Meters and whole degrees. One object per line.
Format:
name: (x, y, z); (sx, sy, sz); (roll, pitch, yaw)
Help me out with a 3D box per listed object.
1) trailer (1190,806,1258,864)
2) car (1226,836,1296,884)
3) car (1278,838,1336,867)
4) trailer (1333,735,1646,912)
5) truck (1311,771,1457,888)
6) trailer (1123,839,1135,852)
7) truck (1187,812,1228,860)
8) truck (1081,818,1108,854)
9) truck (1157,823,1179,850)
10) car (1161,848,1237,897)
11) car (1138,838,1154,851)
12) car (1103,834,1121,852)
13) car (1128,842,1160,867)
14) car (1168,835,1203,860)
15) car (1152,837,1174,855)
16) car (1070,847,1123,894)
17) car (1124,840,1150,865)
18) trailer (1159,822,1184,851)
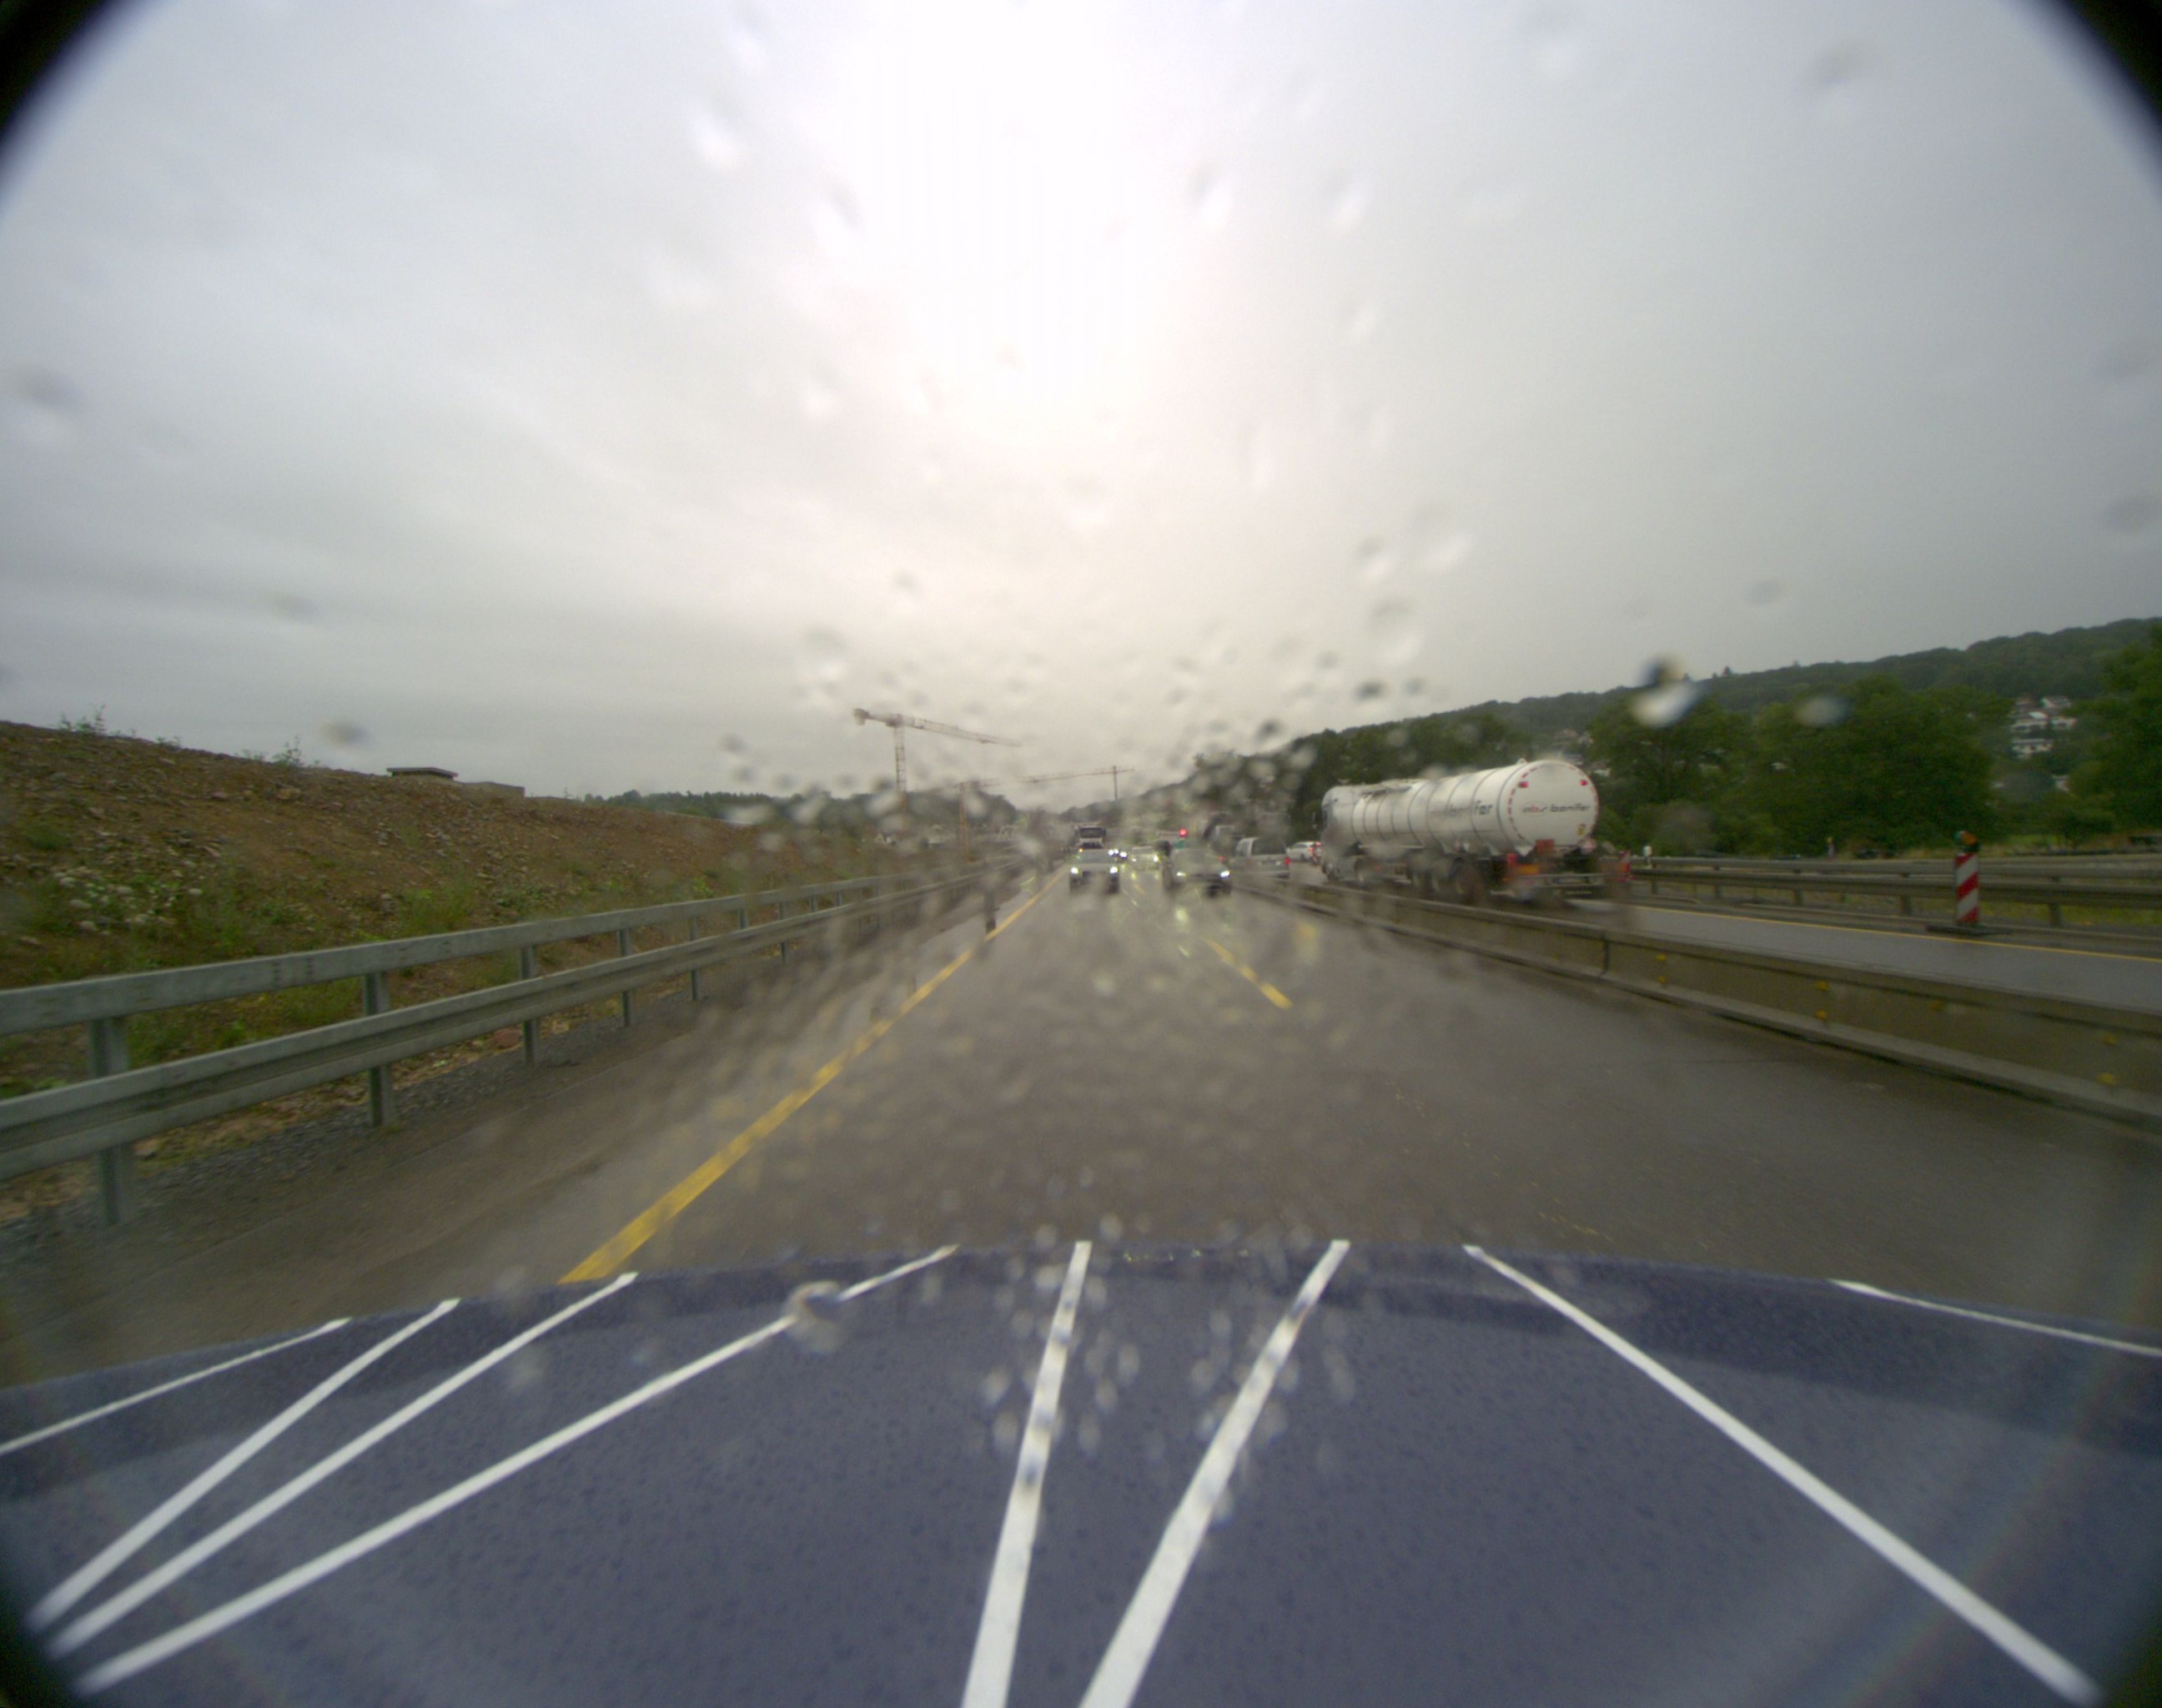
trailer: (11.180, -1.483, 61.175); (2.756, 4.019, 15.356); (-2, 1, 1)
car: (7.222, 0.192, 30.895); (1.870, 1.790, 4.162); (-2, 1, 1)
car: (17.106, -0.155, 57.722); (2.072, 2.051, 4.837); (-2, 1, -13)
trailer: (10.595, -0.729, 21.972); (2.627, 3.656, 12.001); (-2, 1, 0)
truck: (10.627, -0.834, 27.449); (2.627, 3.656, 6.594); (-2, 1, 0)
trailer: (14.884, -2.476, 237.880); (3.285, 3.886, 13.699); (-2, 0, 2)
truck: (11.366, -1.629, 68.876); (2.756, 4.039, 6.147); (-2, 1, 1)
truck: (1.415, -1.823, 76.680); (2.575, 3.451, 6.626); (-2, 1, 2)
truck: (12.864, -2.588, 112.687); (2.692, 3.905, 5.273); (0, 1, 1)
car: (3.823, 0.556, 25.389); (1.951, 1.430, 4.484); (-2, 0, 2)
car: (9.306, -1.416, 108.334); (1.879, 1.782, 5.358); (-1, 1, 1)
car: (3.841, -1.306, 94.335); (1.998, 2.001, 4.188); (-2, -1, 1)
car: (3.969, 0.016, 48.384); (1.781, 1.430, 4.483); (-2, 1, 2)
car: (7.891, -0.498, 57.741); (1.998, 1.749, 4.687); (-2, 1, 1)
car: (8.337, -0.850, 77.424); (1.791, 1.795, 5.189); (0, 1, 1)
car: (0.592, 0.546, 28.363); (1.781, 1.514, 4.140); (-2, 1, 2)
car: (4.758, -0.103, 64.161); (1.998, 2.002, 4.001); (-1, 0, 5)
trailer: (12.790, -2.492, 108.086); (2.692, 3.941, 9.818); (0, 1, 1)
